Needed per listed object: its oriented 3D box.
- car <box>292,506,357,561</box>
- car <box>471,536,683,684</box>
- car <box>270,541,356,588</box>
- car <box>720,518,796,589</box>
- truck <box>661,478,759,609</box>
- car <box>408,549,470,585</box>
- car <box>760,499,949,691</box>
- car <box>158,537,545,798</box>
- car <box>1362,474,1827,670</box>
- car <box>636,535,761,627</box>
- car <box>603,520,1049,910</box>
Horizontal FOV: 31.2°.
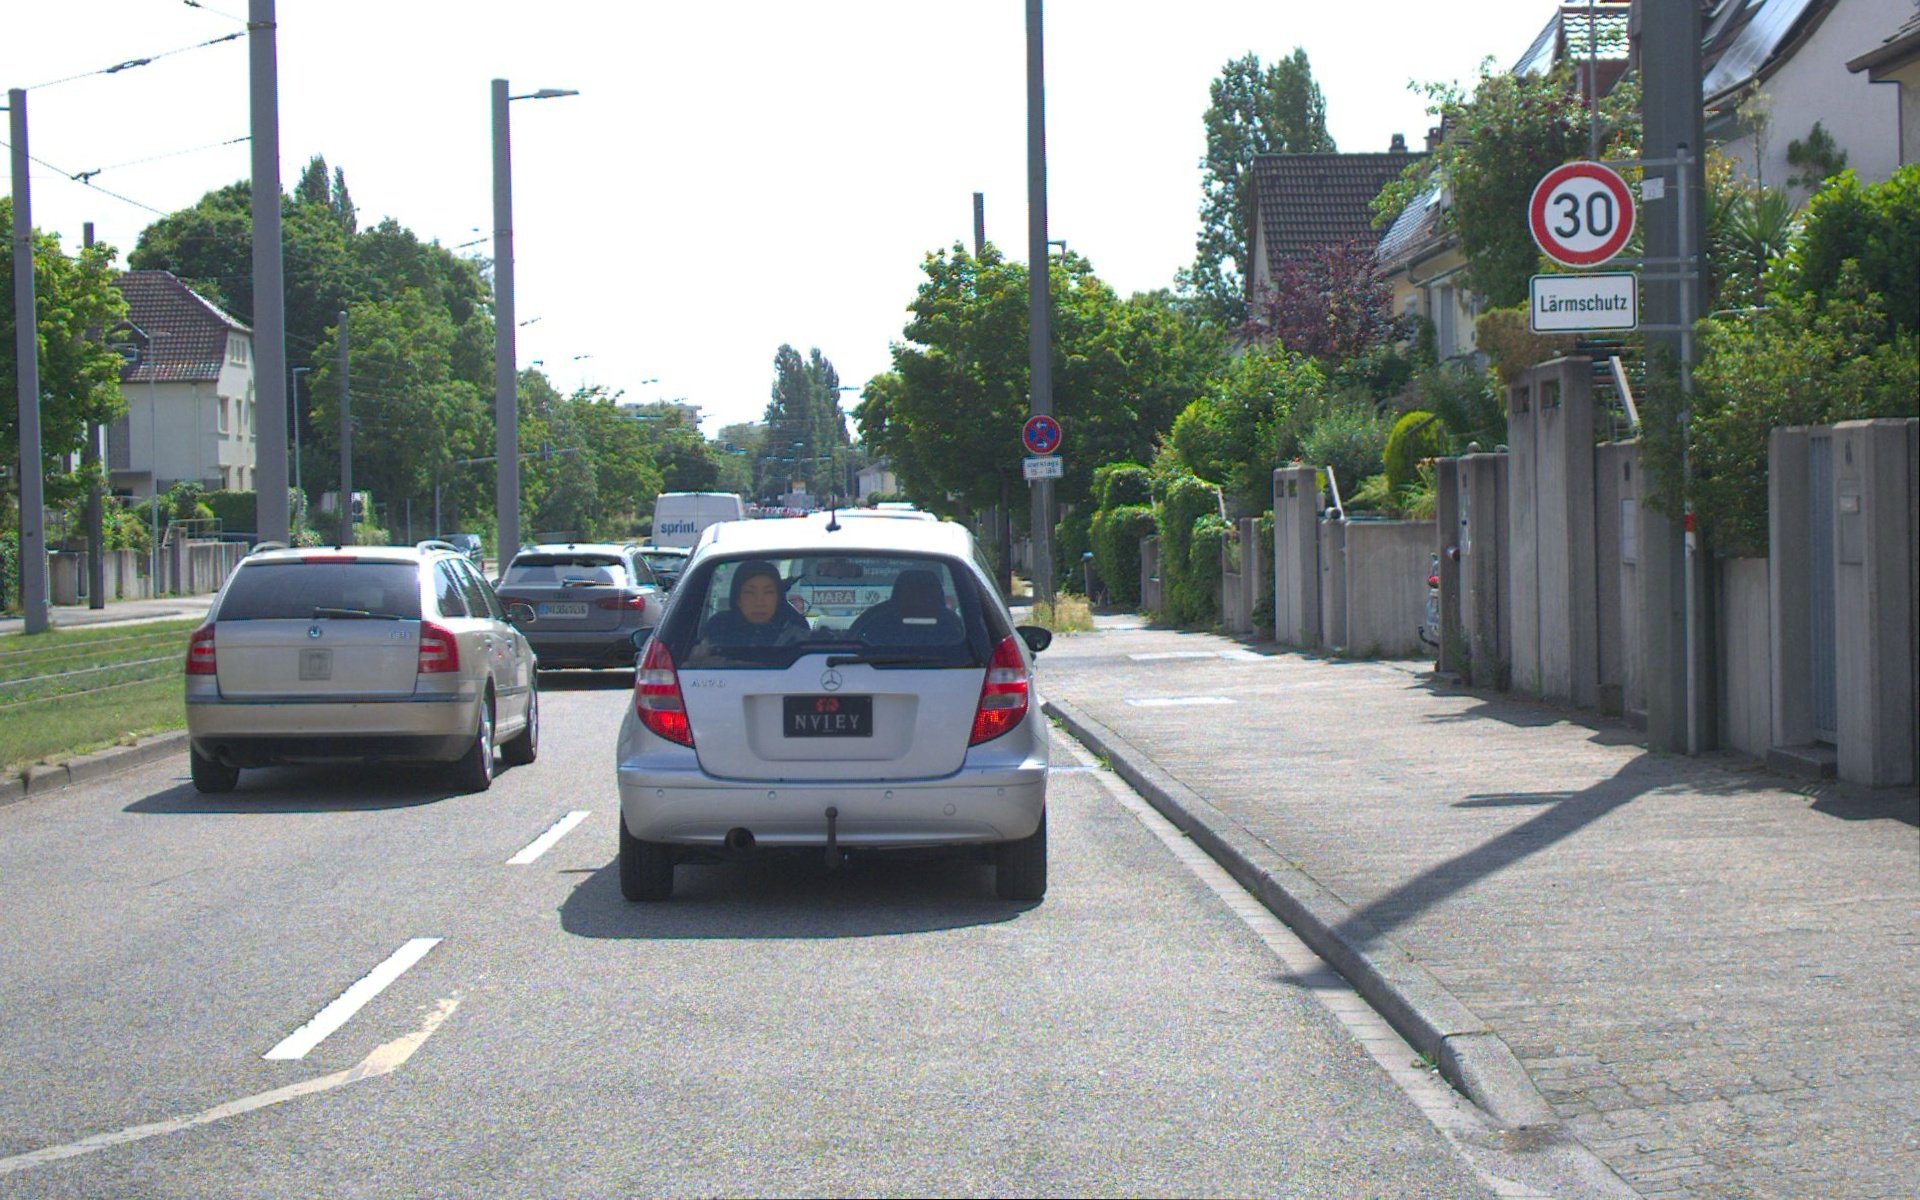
[{"bbox_3d":[-27.169,-2.855,147.084,1.916,2.322,4.562,1,1,1],"label":"car"},{"bbox_3d":[-4.063,0.056,37.120,1.916,1.472,4.563,0,1,-2],"label":"car"},{"bbox_3d":[-21.225,-1.195,112.999,1.916,1.472,4.562,1,1,1],"label":"car"},{"bbox_3d":[-5.994,-1.402,102.526,1.916,2.070,4.562,1,1,1],"label":"car"},{"bbox_3d":[-5.065,-1.152,70.206,1.852,2.543,5.856,0,1,-3],"label":"truck"},{"bbox_3d":[-22.431,-1.439,148.249,1.916,1.472,4.562,1,1,1],"label":"car"},{"bbox_3d":[-1.006,-0.080,33.794,1.730,1.756,4.017,0,1,-1],"label":"car"},{"bbox_3d":[-3.654,0.341,21.295,1.731,1.444,4.123,0,1,-1],"label":"car"},{"bbox_3d":[6.090,-0.289,33.312,3.986,1.678,2.000,-2,1,-4],"label":"car"},{"bbox_3d":[-4.126,-0.329,54.795,1.852,1.383,4.515,0,1,-3],"label":"car"},{"bbox_3d":[-0.583,0.417,15.437,1.730,1.511,4.017,0,1,-2],"label":"car"}]
